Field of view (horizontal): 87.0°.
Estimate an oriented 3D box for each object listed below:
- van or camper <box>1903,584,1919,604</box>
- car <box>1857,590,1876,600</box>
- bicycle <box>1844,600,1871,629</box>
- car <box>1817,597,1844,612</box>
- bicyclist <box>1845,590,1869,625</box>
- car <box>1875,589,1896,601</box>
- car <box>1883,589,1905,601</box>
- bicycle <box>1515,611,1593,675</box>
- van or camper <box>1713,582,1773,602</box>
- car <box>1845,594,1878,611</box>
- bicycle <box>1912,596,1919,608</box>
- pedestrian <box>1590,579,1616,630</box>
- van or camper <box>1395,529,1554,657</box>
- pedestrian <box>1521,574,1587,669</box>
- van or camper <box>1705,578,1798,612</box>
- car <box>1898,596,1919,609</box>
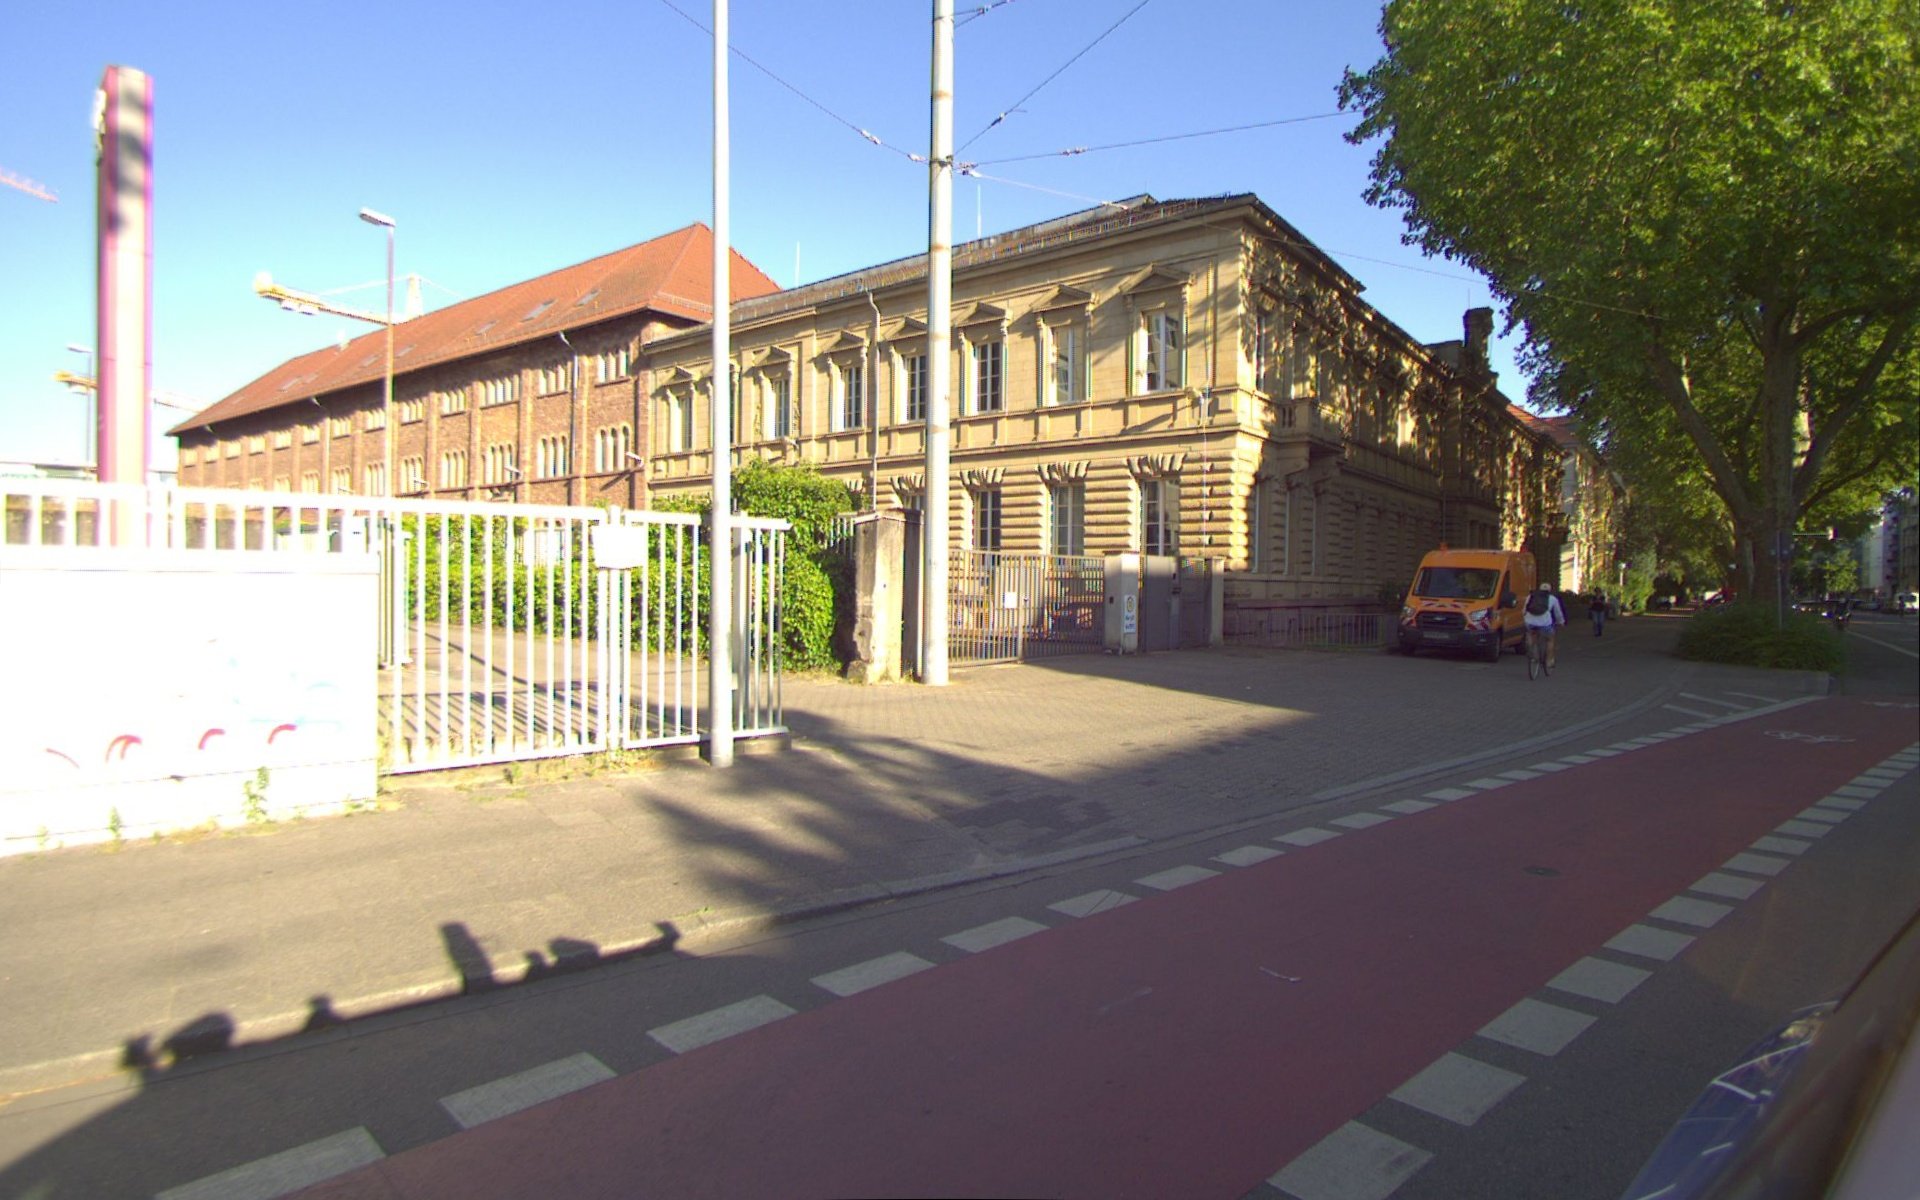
[{"bbox_3d":[111.008,-0.694,117.280,1.935,2.309,4.536,-1,-1,37],"label":"van or camper"},{"bbox_3d":[141.532,-0.773,158.015,1.798,1.563,3.868,-1,0,36],"label":"car"},{"bbox_3d":[37.885,0.607,42.748,0.711,1.152,2.091,1,1,38],"label":"bicycle"},{"bbox_3d":[82.903,0.394,96.416,1.731,1.390,3.866,-1,0,37],"label":"car"},{"bbox_3d":[37.906,0.301,42.771,0.712,1.461,0.940,1,1,40],"label":"bicyclist"},{"bbox_3d":[132.607,-0.707,145.028,1.798,1.563,3.868,-1,0,36],"label":"car"},{"bbox_3d":[126.463,-0.636,137.005,1.799,1.563,3.866,-1,0,37],"label":"car"},{"bbox_3d":[10.839,0.751,18.442,1.869,1.044,0.675,0,3,-43],"label":"bicycle"},{"bbox_3d":[100.728,-1.022,130.214,6.074,2.461,2.394,2,1,39],"label":"van or camper"},{"bbox_3d":[74.440,0.184,83.609,1.731,1.390,3.866,-1,0,37],"label":"car"},{"bbox_3d":[94.962,0.213,100.374,0.713,1.152,2.087,1,1,43],"label":"bicycle"},{"bbox_3d":[22.527,0.158,35.458,0.649,1.758,0.993,1,1,39],"label":"pedestrian"},{"bbox_3d":[11.975,-0.186,23.314,2.033,2.591,5.689,1,1,40],"label":"van or camper"},{"bbox_3d":[10.776,0.378,18.352,1.083,1.639,0.671,0,3,-42],"label":"pedestrian"},{"bbox_3d":[64.779,-0.459,82.973,5.898,2.528,2.193,1,4,37],"label":"van or camper"},{"bbox_3d":[114.206,0.309,121.644,1.799,1.563,3.866,-1,0,37],"label":"car"}]
